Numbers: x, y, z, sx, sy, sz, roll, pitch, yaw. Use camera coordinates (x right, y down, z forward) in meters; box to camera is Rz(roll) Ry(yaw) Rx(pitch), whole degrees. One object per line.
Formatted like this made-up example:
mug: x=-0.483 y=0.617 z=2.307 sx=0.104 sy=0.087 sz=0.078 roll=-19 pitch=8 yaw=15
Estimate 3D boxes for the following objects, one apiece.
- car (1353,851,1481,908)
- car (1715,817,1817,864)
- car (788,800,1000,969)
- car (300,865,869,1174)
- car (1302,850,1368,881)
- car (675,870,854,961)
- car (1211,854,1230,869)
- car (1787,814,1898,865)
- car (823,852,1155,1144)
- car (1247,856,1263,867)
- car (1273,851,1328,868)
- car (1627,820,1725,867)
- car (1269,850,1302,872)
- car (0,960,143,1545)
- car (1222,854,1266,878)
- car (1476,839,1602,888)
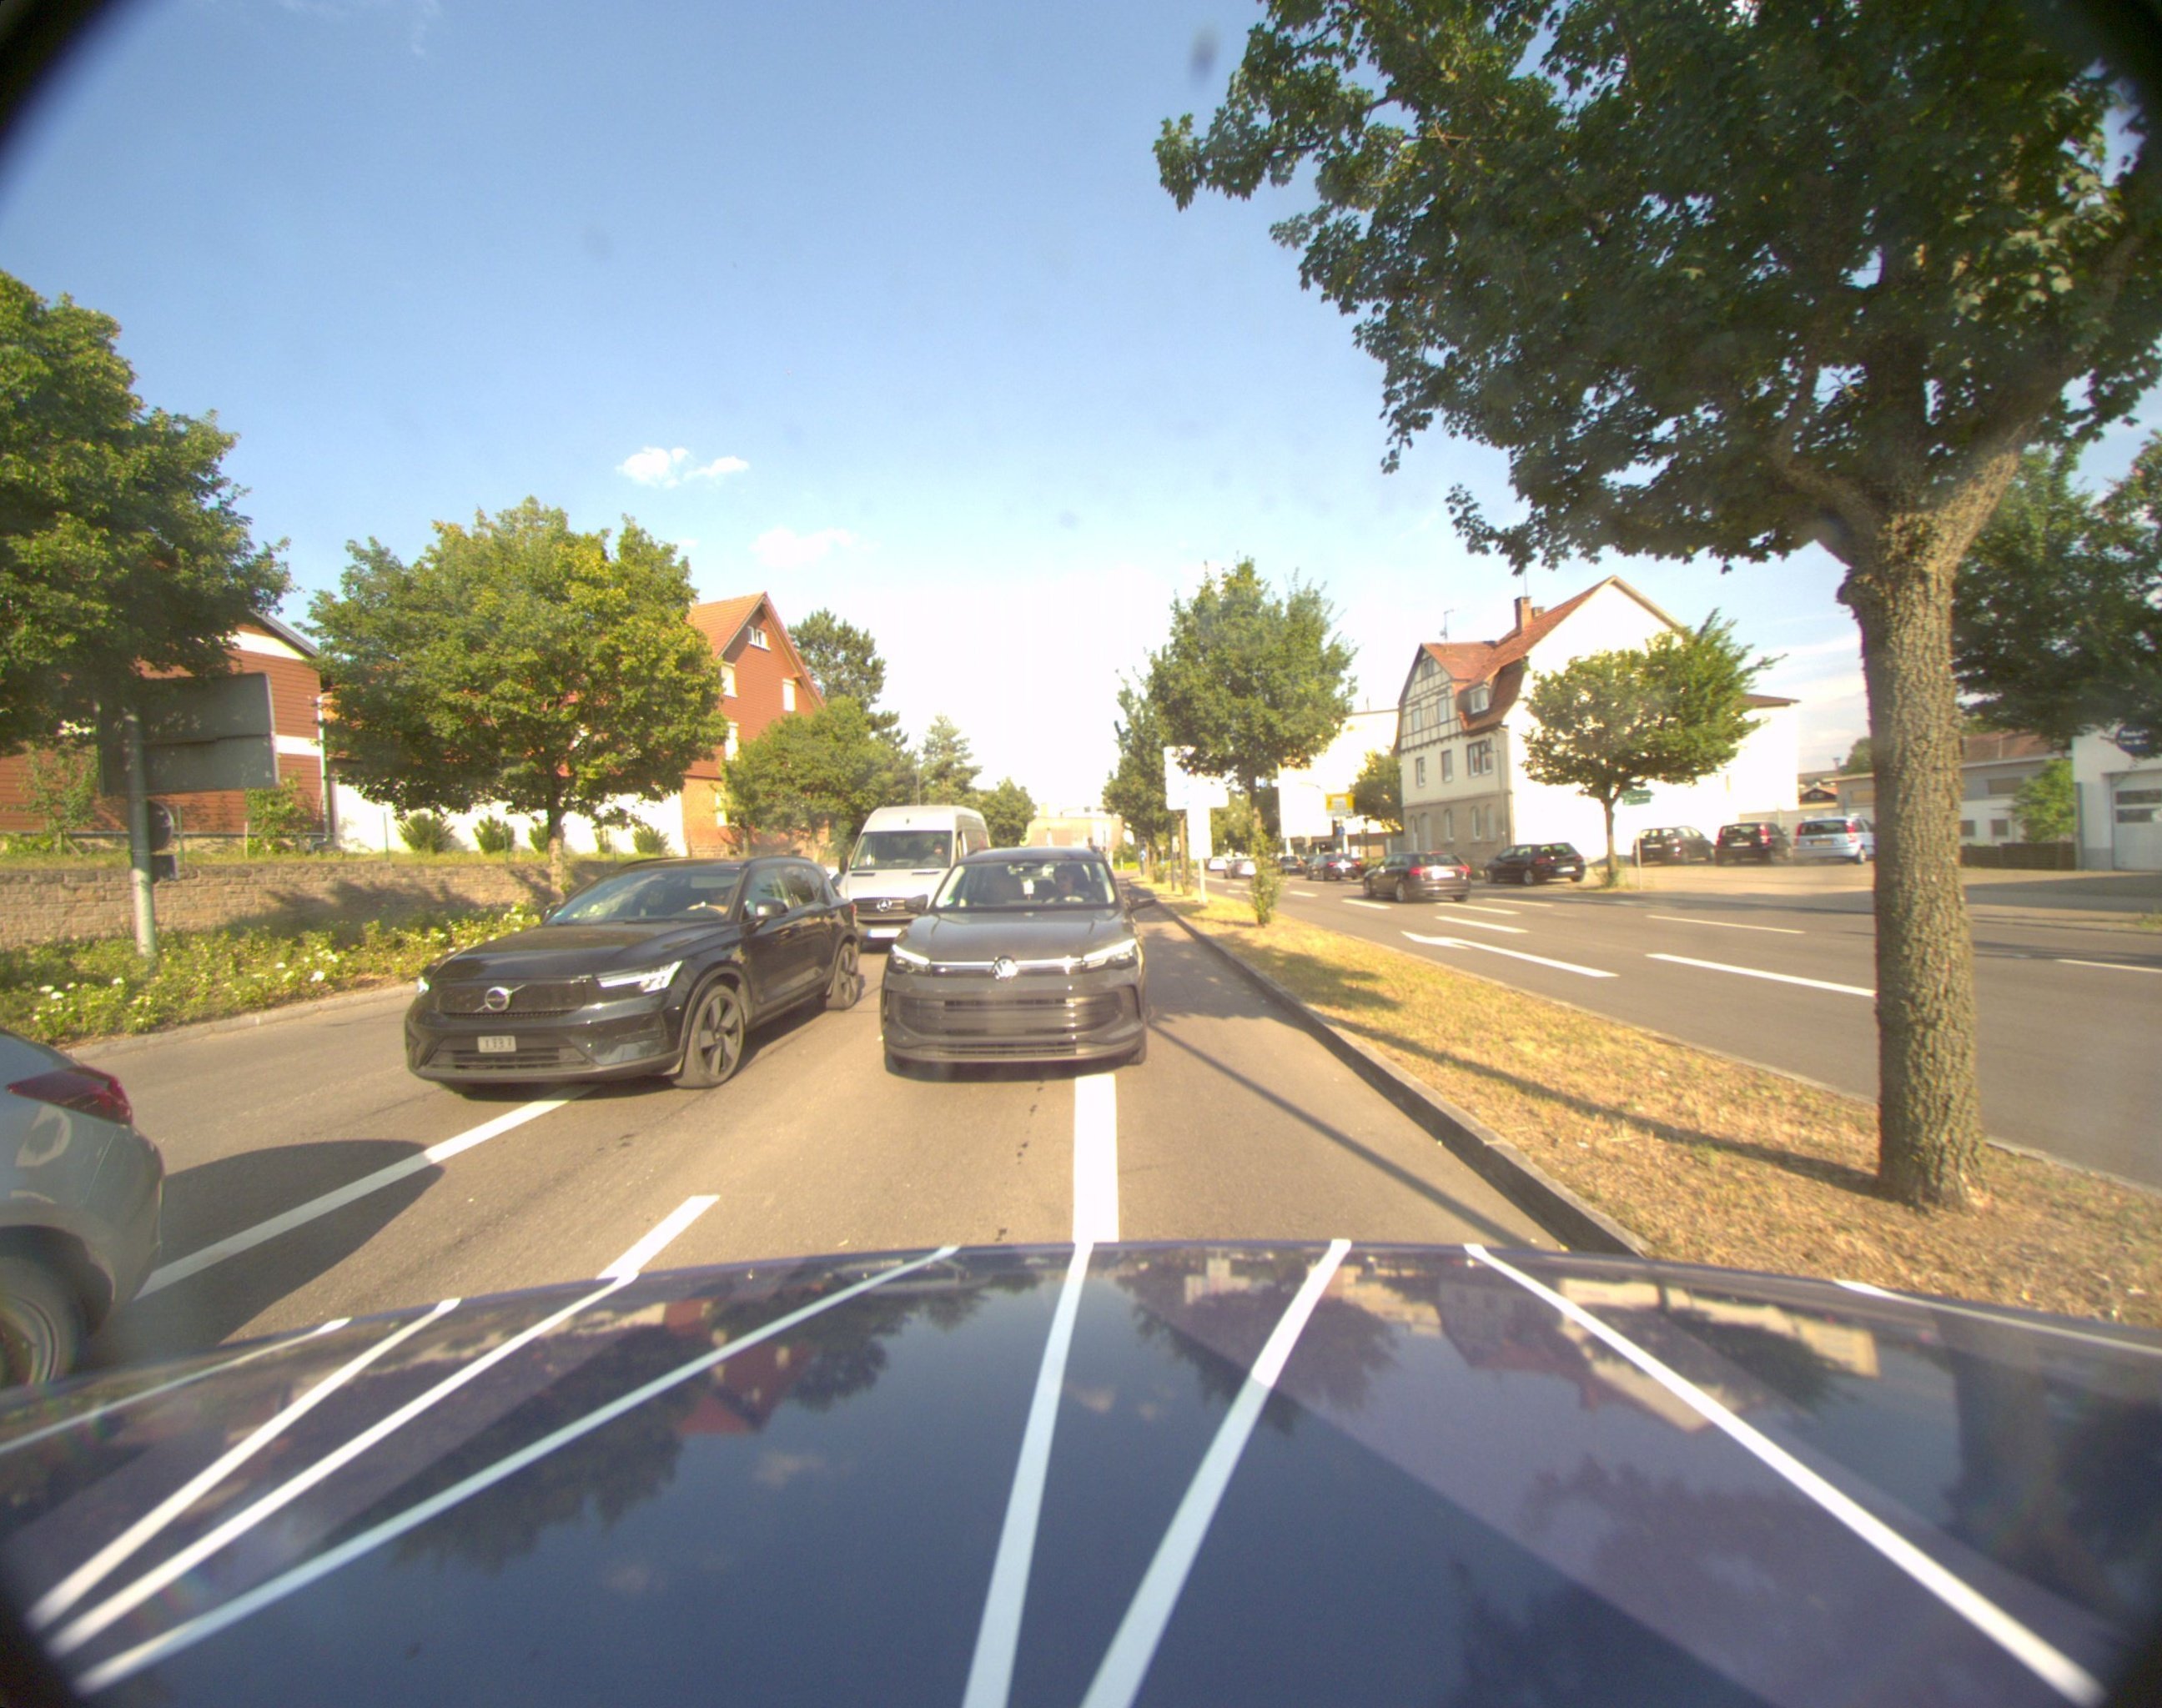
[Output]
car: x=9.289 y=0.635 z=21.379 sx=1.649 sy=1.378 sz=4.189 roll=-2 pitch=0 yaw=-1
car: x=24.892 y=-0.489 z=27.563 sx=4.006 sy=1.543 sz=1.763 roll=-2 pitch=1 yaw=-33
car: x=-3.223 y=0.460 z=14.842 sx=2.370 sy=2.532 sz=6.192 roll=-2 pitch=0 yaw=2
car: x=-3.365 y=0.963 z=6.325 sx=1.886 sy=1.599 sz=4.128 roll=-2 pitch=0 yaw=2
car: x=12.910 y=0.536 z=38.947 sx=1.848 sy=1.413 sz=4.644 roll=-2 pitch=0 yaw=1
car: x=-6.179 y=1.130 z=15.421 sx=1.732 sy=1.442 sz=4.069 roll=-2 pitch=0 yaw=2
car: x=15.109 y=0.767 z=82.130 sx=1.804 sy=1.488 sz=3.958 roll=-2 pitch=0 yaw=12
car: x=24.966 y=-0.488 z=24.889 sx=4.006 sy=1.543 sz=1.763 roll=-2 pitch=1 yaw=-33
car: x=-0.484 y=0.846 z=6.835 sx=1.894 sy=1.647 sz=4.730 roll=-2 pitch=0 yaw=1
car: x=24.429 y=1.027 z=106.769 sx=1.810 sy=1.488 sz=4.248 roll=-2 pitch=0 yaw=10
car: x=19.959 y=0.483 z=69.240 sx=4.660 sy=1.346 sz=1.768 roll=-2 pitch=1 yaw=9
car: x=23.402 y=-0.409 z=29.850 sx=4.006 sy=1.543 sz=1.764 roll=-4 pitch=1 yaw=-33
car: x=14.894 y=0.460 z=55.544 sx=1.689 sy=1.454 sz=4.714 roll=-2 pitch=0 yaw=7
car: x=-3.622 y=1.062 z=0.104 sx=1.748 sy=1.433 sz=4.166 roll=-2 pitch=0 yaw=0
car: x=10.233 y=0.739 z=47.892 sx=1.785 sy=1.341 sz=4.478 roll=-2 pitch=0 yaw=0
car: x=15.995 y=0.307 z=26.800 sx=1.839 sy=1.435 sz=4.195 roll=-5 pitch=0 yaw=1
